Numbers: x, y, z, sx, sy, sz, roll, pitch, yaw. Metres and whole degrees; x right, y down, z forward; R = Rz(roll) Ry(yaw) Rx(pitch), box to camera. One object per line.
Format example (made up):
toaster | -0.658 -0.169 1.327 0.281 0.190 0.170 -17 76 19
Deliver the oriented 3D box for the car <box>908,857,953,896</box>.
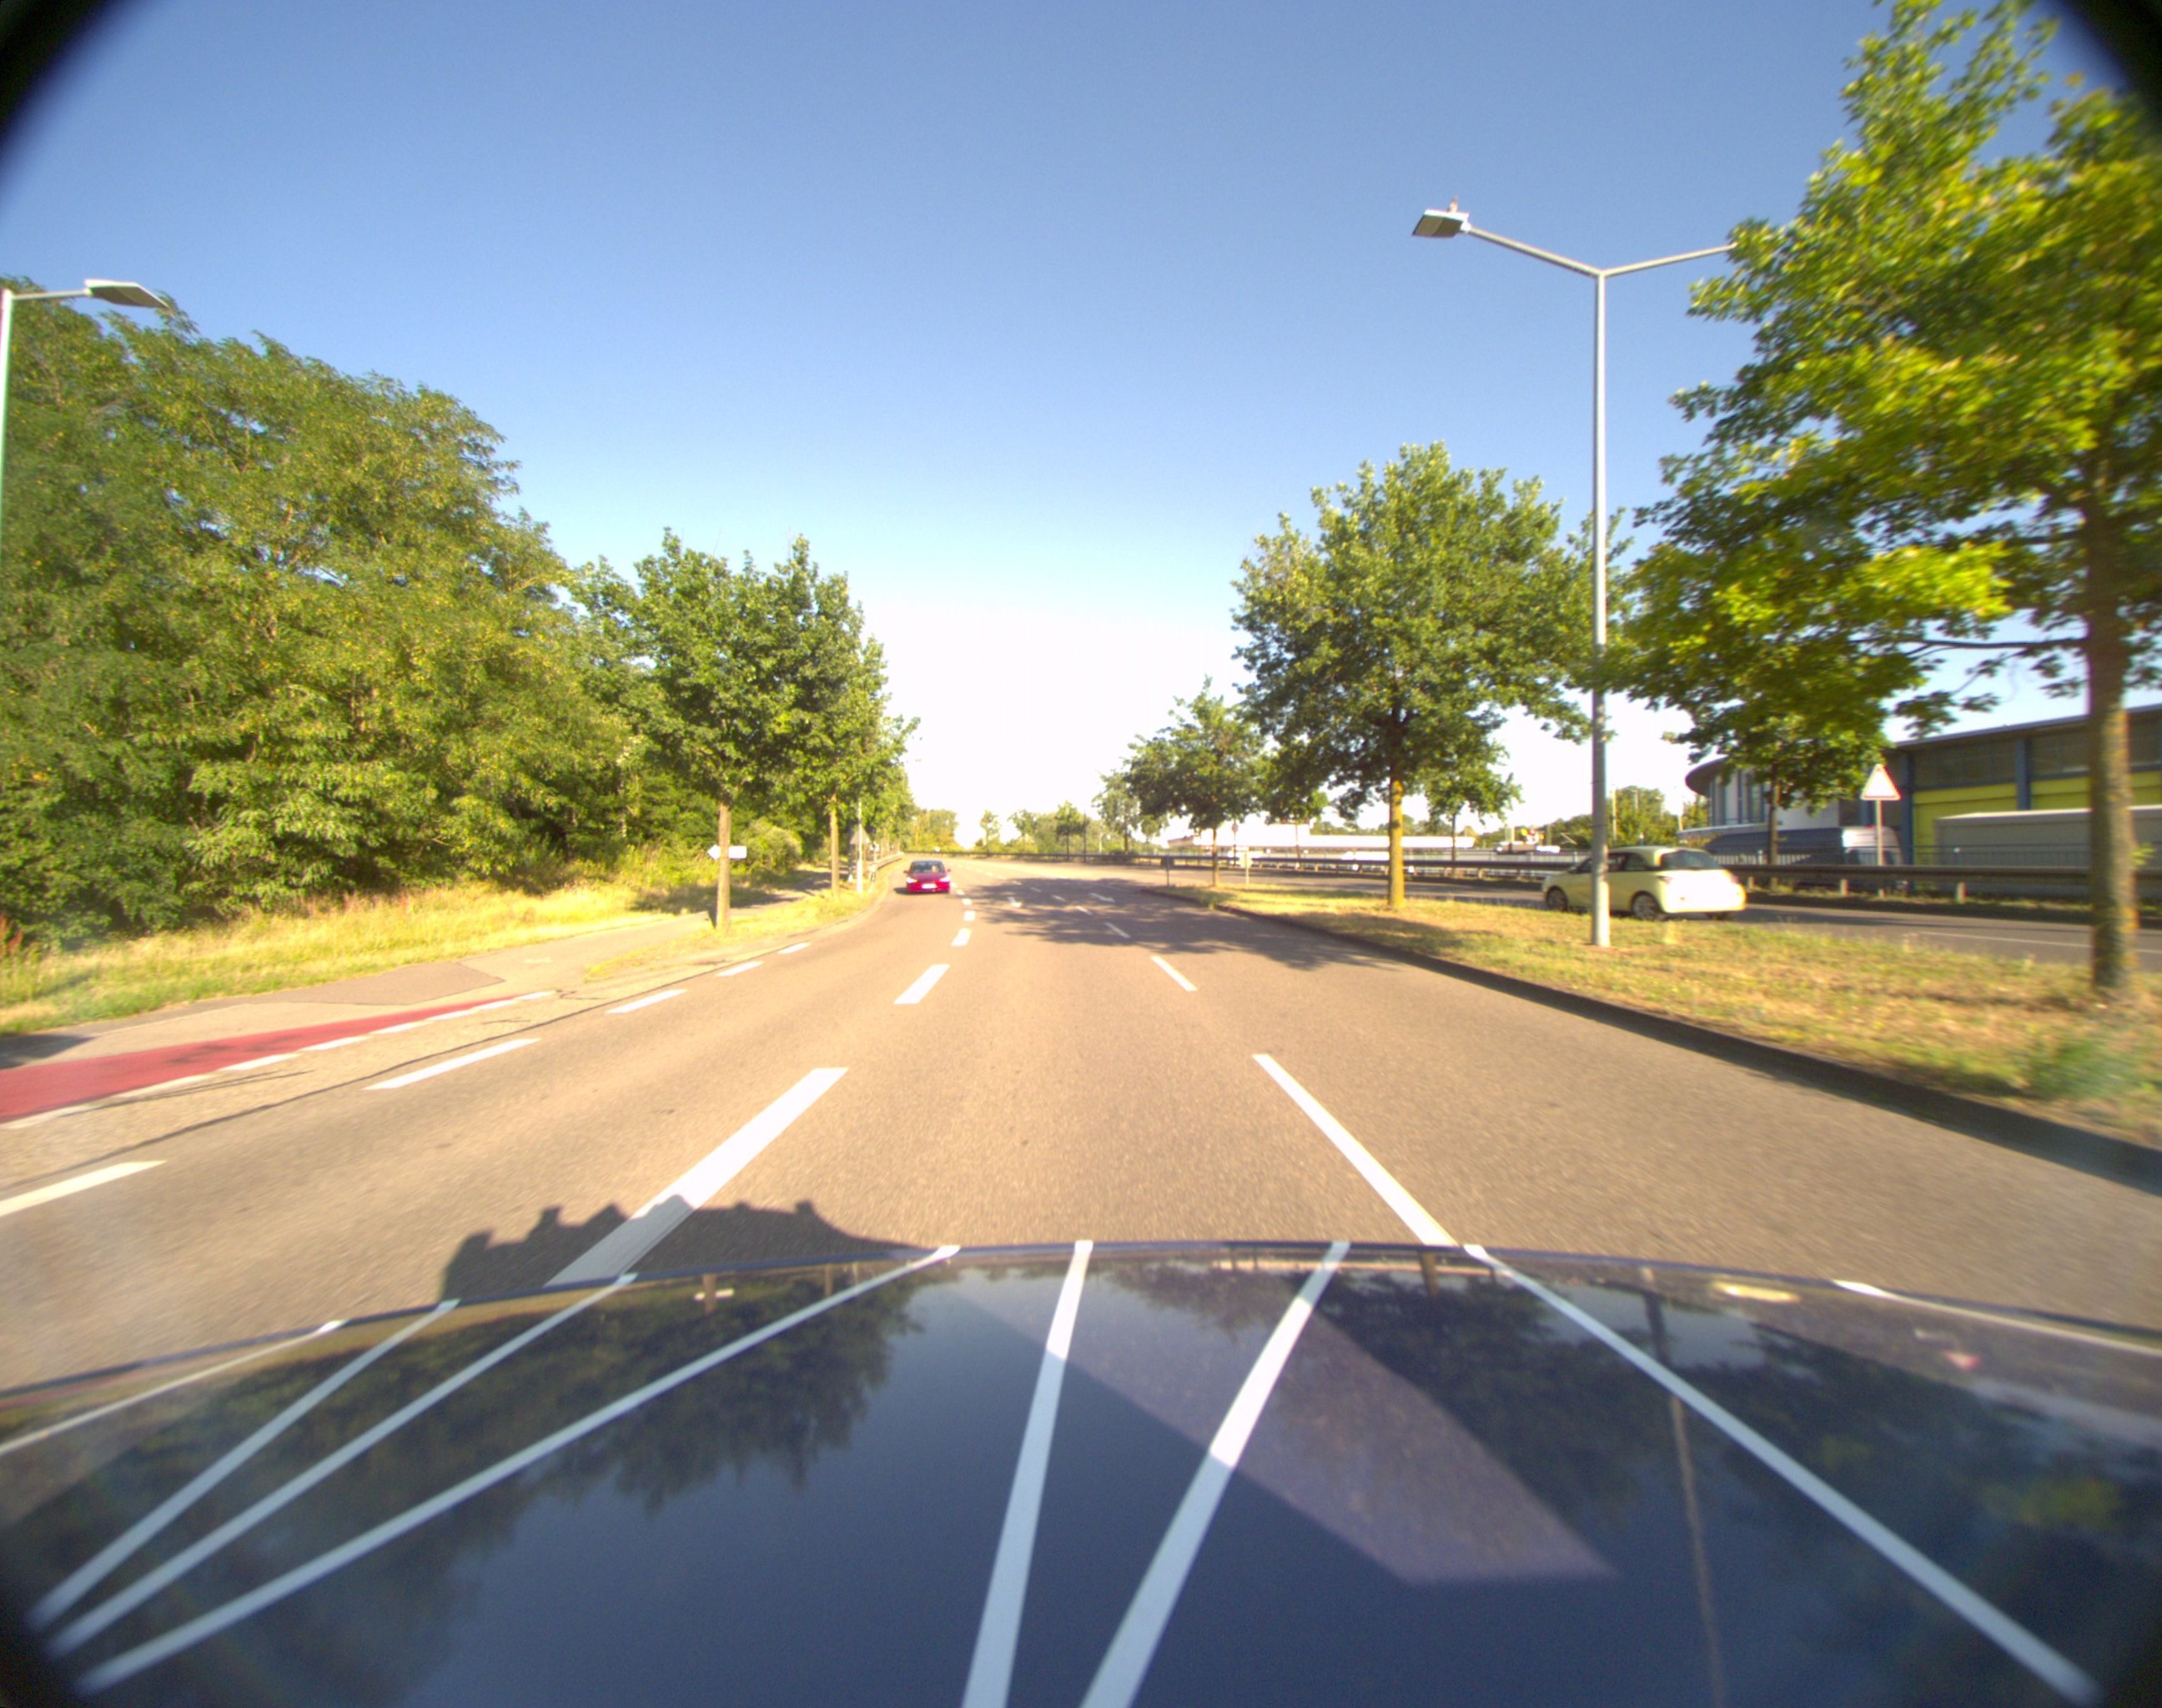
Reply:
car | -6.705 0.936 33.613 1.783 1.434 4.353 -1 2 -12

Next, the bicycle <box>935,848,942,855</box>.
bicycle | -24.212 -0.468 128.987 0.585 1.071 2.307 2 1 -24

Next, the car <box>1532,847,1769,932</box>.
car | 11.310 0.623 15.461 1.746 1.454 3.763 -2 0 -6

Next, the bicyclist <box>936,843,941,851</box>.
bicyclist | -24.267 -1.206 129.137 0.602 1.451 0.826 2 1 -24

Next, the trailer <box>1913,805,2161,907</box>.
trailer | 21.759 0.017 15.293 2.427 1.958 6.601 -1 1 -6

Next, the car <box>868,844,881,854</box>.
car | -43.906 -1.039 161.796 1.886 2.002 5.248 -2 2 -24

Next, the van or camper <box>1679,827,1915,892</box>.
van or camper | 20.904 0.124 22.561 2.000 1.676 4.956 -1 1 -7
